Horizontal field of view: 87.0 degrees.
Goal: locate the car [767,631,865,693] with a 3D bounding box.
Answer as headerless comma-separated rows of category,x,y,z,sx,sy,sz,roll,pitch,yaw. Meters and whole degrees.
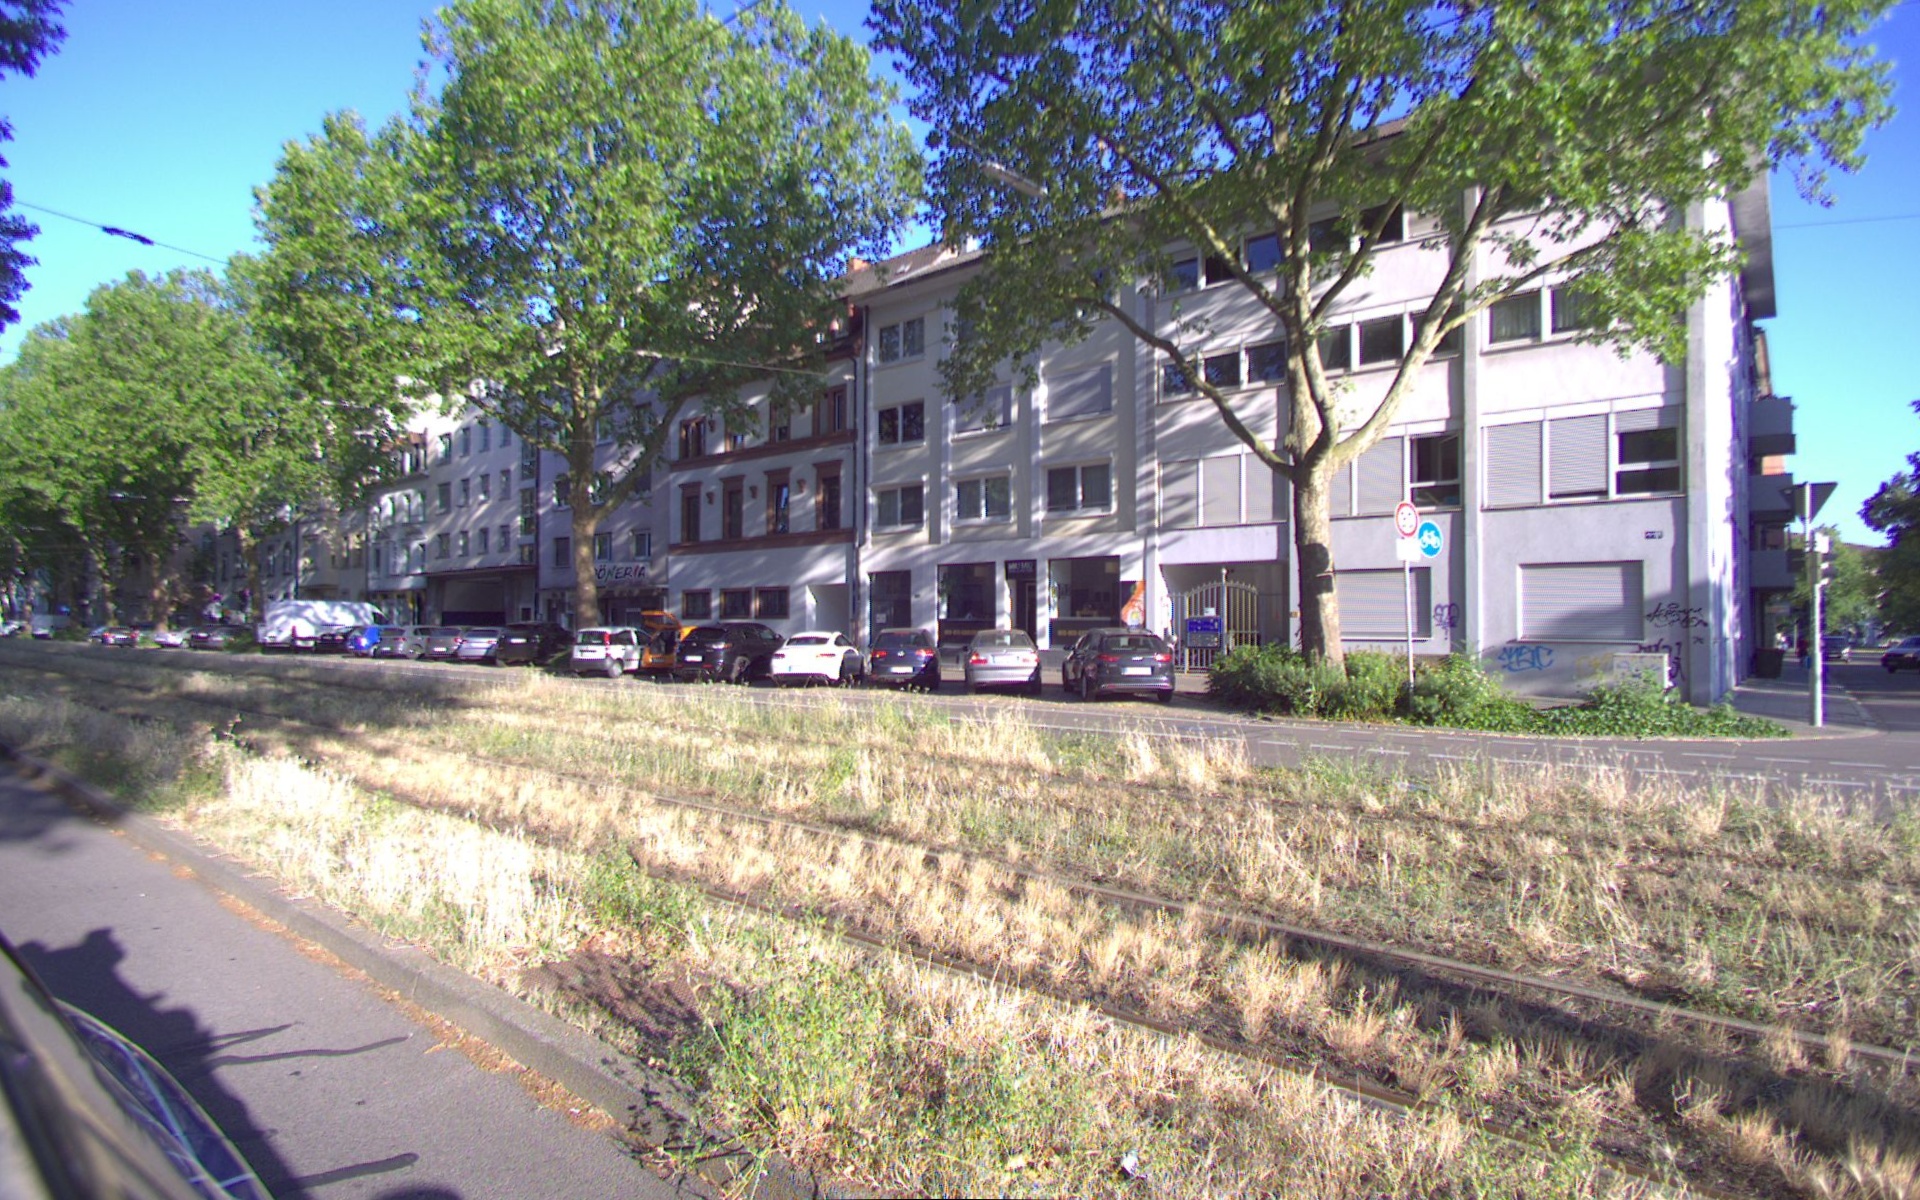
car,-3.700,1.573,26.687,1.700,1.343,4.200,-1,0,4

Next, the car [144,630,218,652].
car,-51.793,2.725,67.343,1.806,1.400,3.670,0,-2,9

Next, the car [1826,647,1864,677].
car,63.350,4.386,72.465,1.999,2.029,3.945,-1,-2,41

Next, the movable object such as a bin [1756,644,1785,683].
movable object such as a bin,27.819,2.160,34.740,0.745,1.315,0.861,-1,-2,39

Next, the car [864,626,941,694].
car,-1.446,1.464,25.682,1.776,1.452,4.002,-1,0,-3

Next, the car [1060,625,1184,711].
car,3.290,1.350,21.288,1.791,1.490,4.002,-1,0,-2

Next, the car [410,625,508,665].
car,-20.545,1.823,41.669,1.735,1.433,3.993,-1,0,6

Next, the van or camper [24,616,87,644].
van or camper,-88.330,2.912,98.894,2.171,2.418,4.364,-1,1,0

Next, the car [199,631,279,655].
car,-43.009,2.553,60.447,1.778,1.368,4.002,0,-3,3

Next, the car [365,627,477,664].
car,-23.608,1.972,44.436,1.941,1.503,3.964,-1,-2,27

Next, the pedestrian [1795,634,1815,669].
pedestrian,43.829,2.653,52.521,0.686,1.764,0.636,-1,-2,32

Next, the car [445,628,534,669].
car,-18.304,1.851,39.560,1.883,1.396,4.004,-1,-1,-5

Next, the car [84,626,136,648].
car,-56.610,2.453,67.372,4.480,1.400,1.802,-1,-4,40

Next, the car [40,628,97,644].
car,-86.025,3.452,97.691,1.709,1.256,3.993,-1,1,6

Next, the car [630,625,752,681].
car,-8.367,1.610,31.794,1.764,1.490,3.974,-1,0,20

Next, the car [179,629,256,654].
car,-47.736,2.690,65.177,1.803,1.545,3.994,0,-3,4

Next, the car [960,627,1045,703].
car,0.894,1.431,23.277,1.698,1.452,4.000,-1,0,-1

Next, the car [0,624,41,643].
car,-107.390,3.764,115.157,1.971,2.029,4.002,-1,0,-2

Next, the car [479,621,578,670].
car,-15.688,1.613,37.018,1.972,1.673,4.000,-1,-1,-1

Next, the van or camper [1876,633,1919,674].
van or camper,49.241,2.663,50.600,5.061,2.029,2.001,0,-2,-1

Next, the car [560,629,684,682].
car,-10.468,1.674,31.695,1.643,1.460,4.345,0,-1,14

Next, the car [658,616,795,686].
car,-6.465,1.455,28.605,1.975,1.800,4.343,1,-3,14

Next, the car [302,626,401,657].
car,-30.751,2.113,51.255,1.984,1.502,3.975,-1,-2,18

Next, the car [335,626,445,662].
car,-25.940,1.979,46.169,1.854,1.431,3.951,-1,0,36

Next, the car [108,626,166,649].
car,-63.518,2.908,78.208,1.703,1.666,4.008,0,-2,-10

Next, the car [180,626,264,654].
car,-45.537,2.518,62.548,1.912,1.605,4.155,0,-4,4

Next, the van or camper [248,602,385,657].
van or camper,-33.116,1.529,52.368,2.162,2.666,5.929,-1,-2,19
